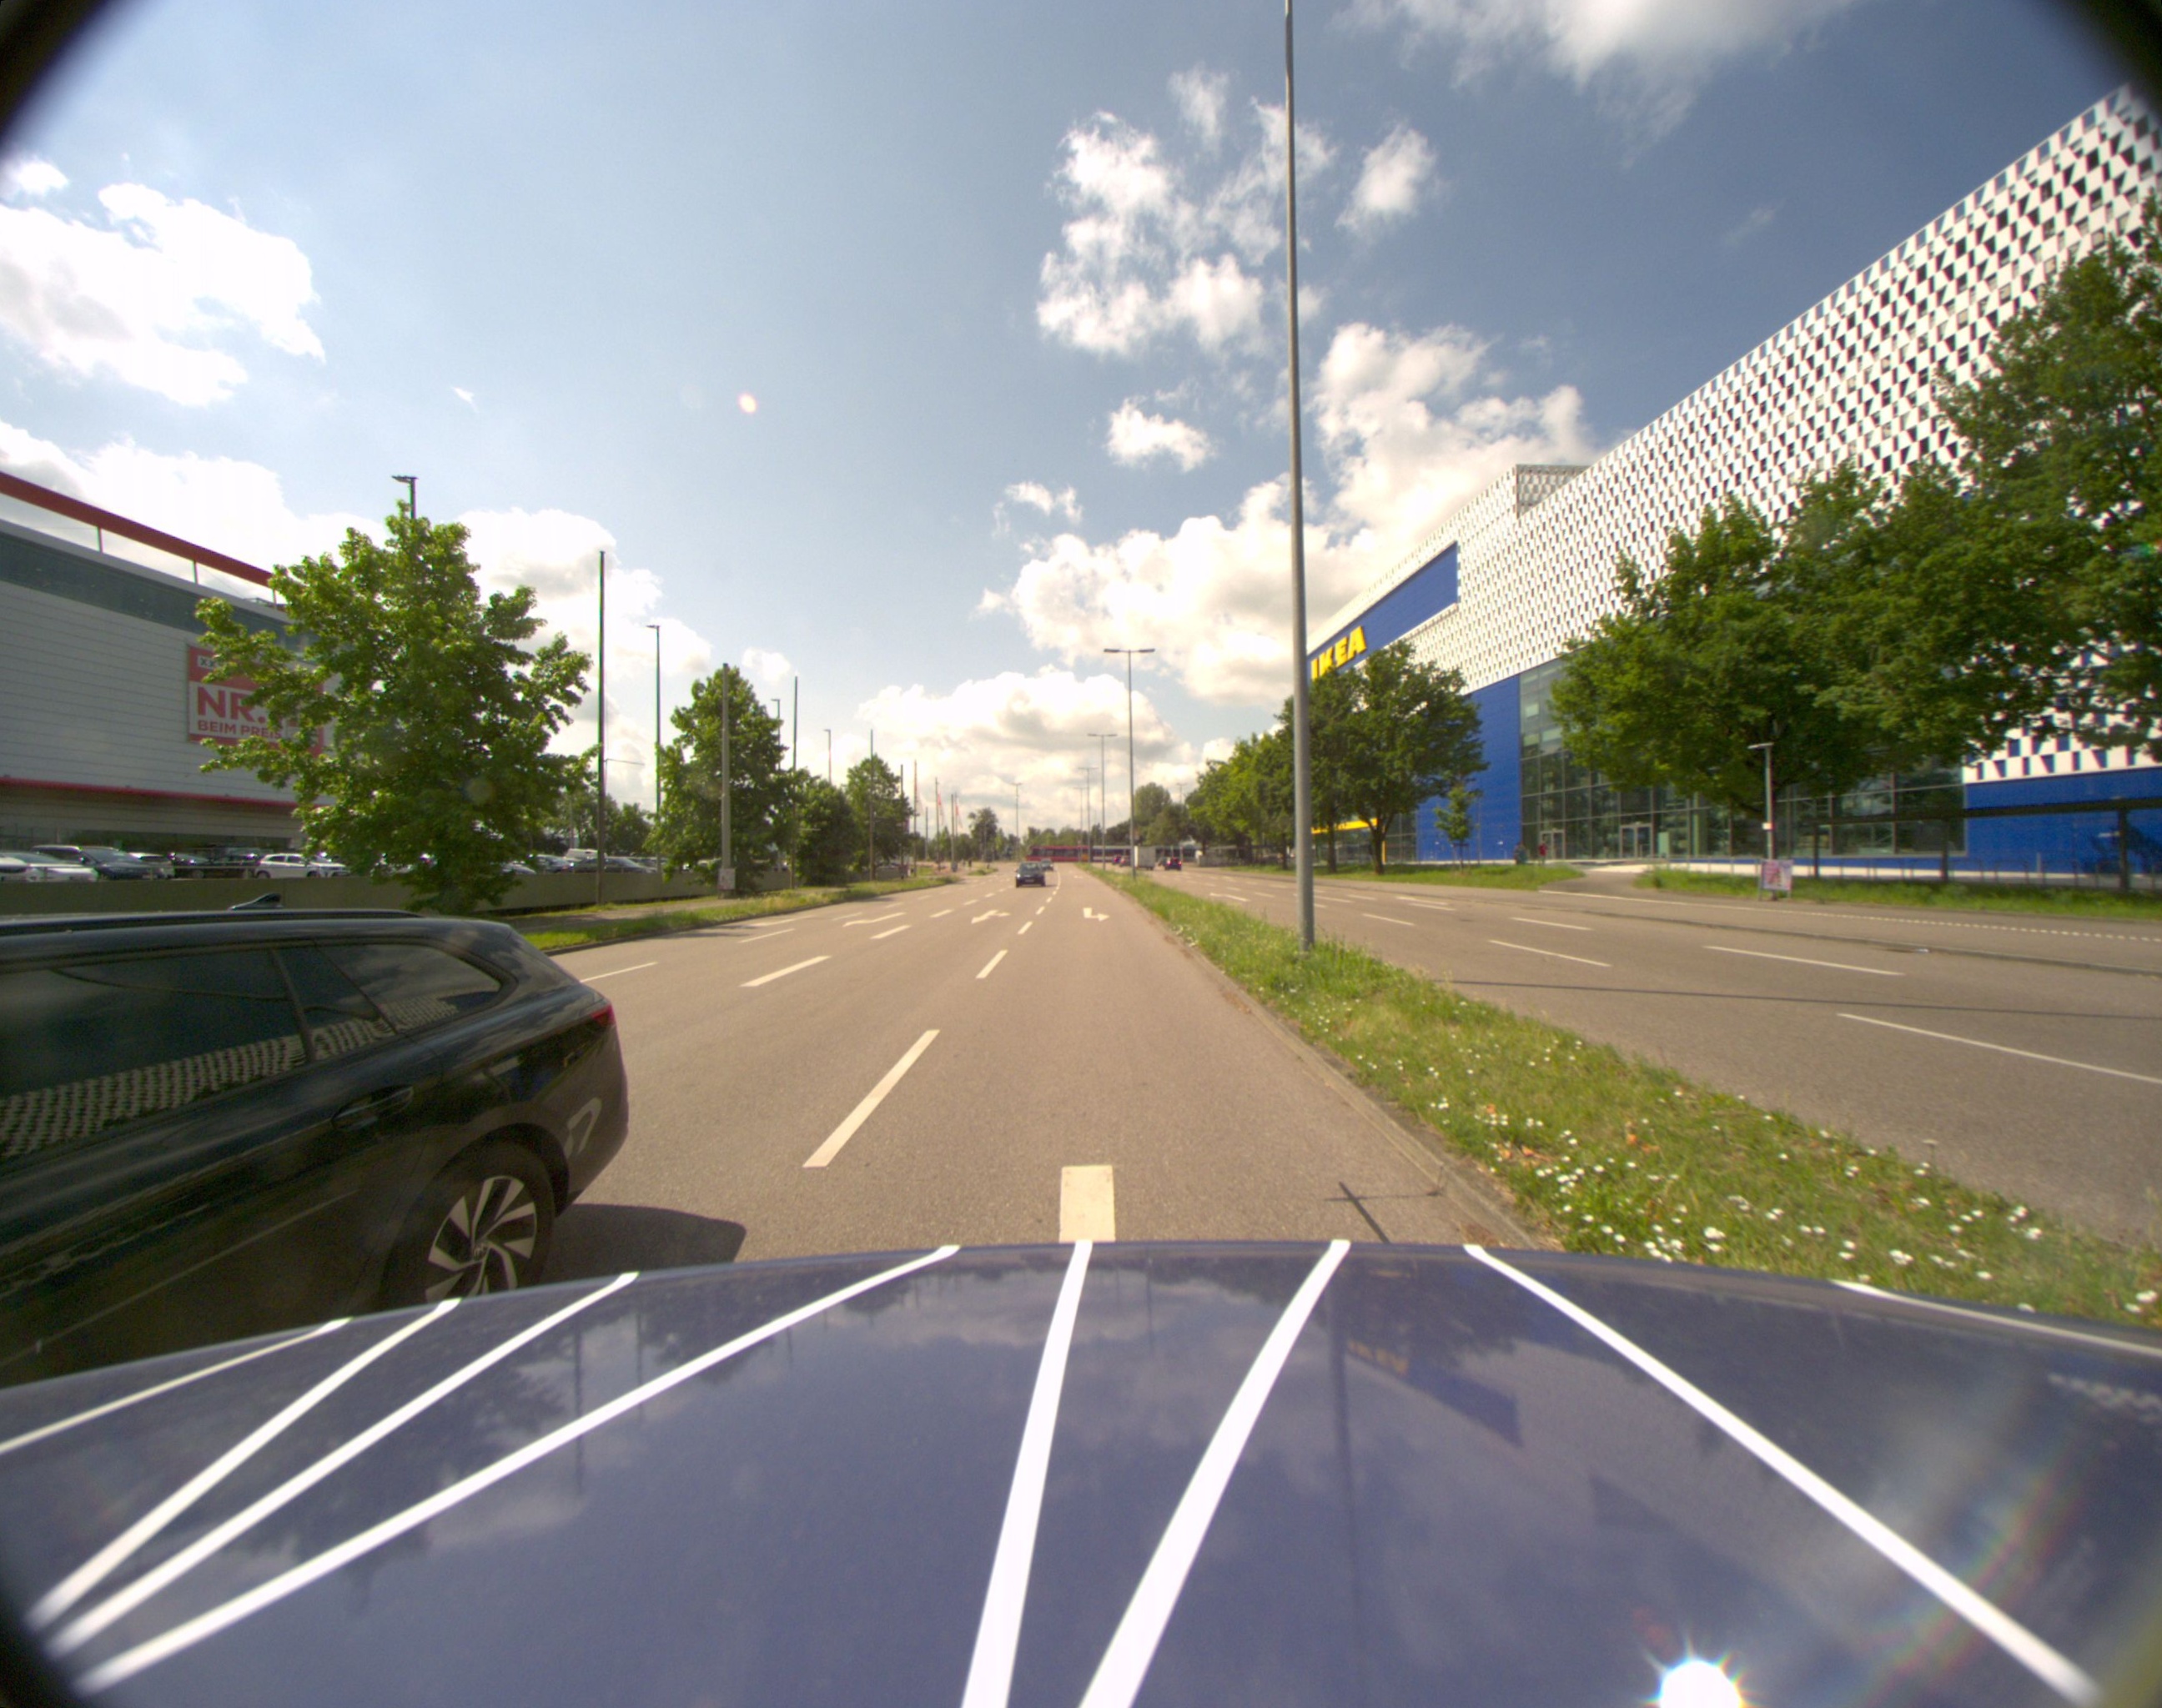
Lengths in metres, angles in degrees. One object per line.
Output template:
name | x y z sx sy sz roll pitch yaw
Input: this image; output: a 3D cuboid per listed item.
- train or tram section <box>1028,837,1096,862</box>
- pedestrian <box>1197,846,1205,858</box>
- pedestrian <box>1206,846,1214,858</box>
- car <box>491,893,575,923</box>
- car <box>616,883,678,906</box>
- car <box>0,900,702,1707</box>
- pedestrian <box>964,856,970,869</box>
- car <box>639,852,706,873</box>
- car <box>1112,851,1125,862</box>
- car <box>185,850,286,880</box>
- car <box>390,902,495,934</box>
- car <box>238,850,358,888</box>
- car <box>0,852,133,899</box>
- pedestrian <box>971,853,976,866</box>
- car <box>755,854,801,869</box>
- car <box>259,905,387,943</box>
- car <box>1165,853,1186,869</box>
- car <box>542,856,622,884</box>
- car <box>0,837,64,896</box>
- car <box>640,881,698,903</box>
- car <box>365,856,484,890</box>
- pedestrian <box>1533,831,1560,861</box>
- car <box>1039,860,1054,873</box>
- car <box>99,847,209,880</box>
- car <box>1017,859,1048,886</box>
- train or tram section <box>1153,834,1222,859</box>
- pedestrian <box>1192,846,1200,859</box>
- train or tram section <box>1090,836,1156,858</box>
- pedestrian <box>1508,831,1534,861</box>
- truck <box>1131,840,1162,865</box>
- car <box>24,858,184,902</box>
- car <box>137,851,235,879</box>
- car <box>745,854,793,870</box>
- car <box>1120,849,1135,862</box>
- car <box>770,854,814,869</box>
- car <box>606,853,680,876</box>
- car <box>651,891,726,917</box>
train or tram section | -3.800 -0.889 152.104 13.098 4.534 3.731 -2 1 -2
pedestrian | 20.727 -0.300 131.328 0.817 2.082 1.041 -1 2 42
pedestrian | 22.172 -0.351 130.953 0.817 2.082 1.041 -1 2 42
car | -37.478 3.668 52.032 4.421 1.754 1.559 -2 1 -3
car | -37.915 3.524 66.401 4.421 1.754 1.559 -2 1 -3
car | -2.812 0.992 1.152 1.813 1.469 5.204 -2 0 0
pedestrian | -15.819 1.131 105.424 0.704 1.803 0.545 -2 1 -13
car | -33.437 0.707 62.291 4.420 1.596 1.955 -2 0 -1
car | 6.223 0.354 125.314 1.941 1.674 4.000 -2 1 1
car | -49.712 0.623 44.716 4.416 1.596 1.956 -2 0 11
car | -37.547 3.746 44.744 4.421 1.596 1.954 -2 0 -2
car | -40.889 0.777 39.757 4.421 1.754 1.559 -2 1 -3
car | -38.427 0.799 28.249 4.417 1.596 1.956 -2 0 8
pedestrian | -14.937 0.797 105.732 0.527 1.803 0.677 -2 1 -9
car | -34.444 0.858 86.543 4.420 1.596 1.955 -2 0 -1
car | -37.195 3.415 37.349 4.419 1.596 1.955 -2 0 3
car | 11.131 0.822 89.743 1.941 1.674 4.000 -2 1 1
car | -32.784 1.048 49.978 3.996 1.595 1.778 -2 1 2
car | -34.400 0.446 23.310 3.997 1.783 1.749 -2 1 1
car | -38.076 3.528 70.309 4.421 1.754 1.559 -2 1 -3
car | -34.266 0.992 39.761 4.420 1.596 1.955 -2 0 -1
pedestrian | 27.599 -0.453 45.074 0.854 1.718 1.165 -2 1 3
car | -4.198 1.538 93.880 1.606 1.521 4.270 -1 0 0
car | -48.992 0.492 40.170 4.415 1.596 1.957 -2 0 14
car | -2.878 1.106 45.824 1.606 1.521 4.270 -1 0 0
train or tram section | 21.369 -1.505 152.885 13.098 4.646 3.731 -2 1 -2
pedestrian | 19.912 -0.275 131.935 0.817 2.082 1.041 -1 2 42
train or tram section | 8.389 -1.413 152.656 13.099 4.346 3.731 0 1 -2
pedestrian | 26.205 -0.460 45.288 0.854 1.718 1.165 -2 1 3
truck | 7.787 -0.235 90.992 2.972 2.736 5.782 -2 1 -2
car | -39.392 1.018 30.694 4.417 1.596 1.956 -2 0 8
car | -55.087 0.650 46.817 4.416 1.596 1.956 -2 0 11
car | -34.101 0.814 83.076 4.420 1.596 1.955 -2 0 -1
car | 6.580 0.212 107.578 1.941 1.674 4.000 -2 1 1
car | -34.601 0.885 91.116 4.420 1.596 1.955 -2 0 -1
car | -33.292 0.751 57.868 4.420 1.596 1.955 -2 0 -1
car | -28.484 3.627 55.256 4.420 1.596 1.955 -2 0 -1
